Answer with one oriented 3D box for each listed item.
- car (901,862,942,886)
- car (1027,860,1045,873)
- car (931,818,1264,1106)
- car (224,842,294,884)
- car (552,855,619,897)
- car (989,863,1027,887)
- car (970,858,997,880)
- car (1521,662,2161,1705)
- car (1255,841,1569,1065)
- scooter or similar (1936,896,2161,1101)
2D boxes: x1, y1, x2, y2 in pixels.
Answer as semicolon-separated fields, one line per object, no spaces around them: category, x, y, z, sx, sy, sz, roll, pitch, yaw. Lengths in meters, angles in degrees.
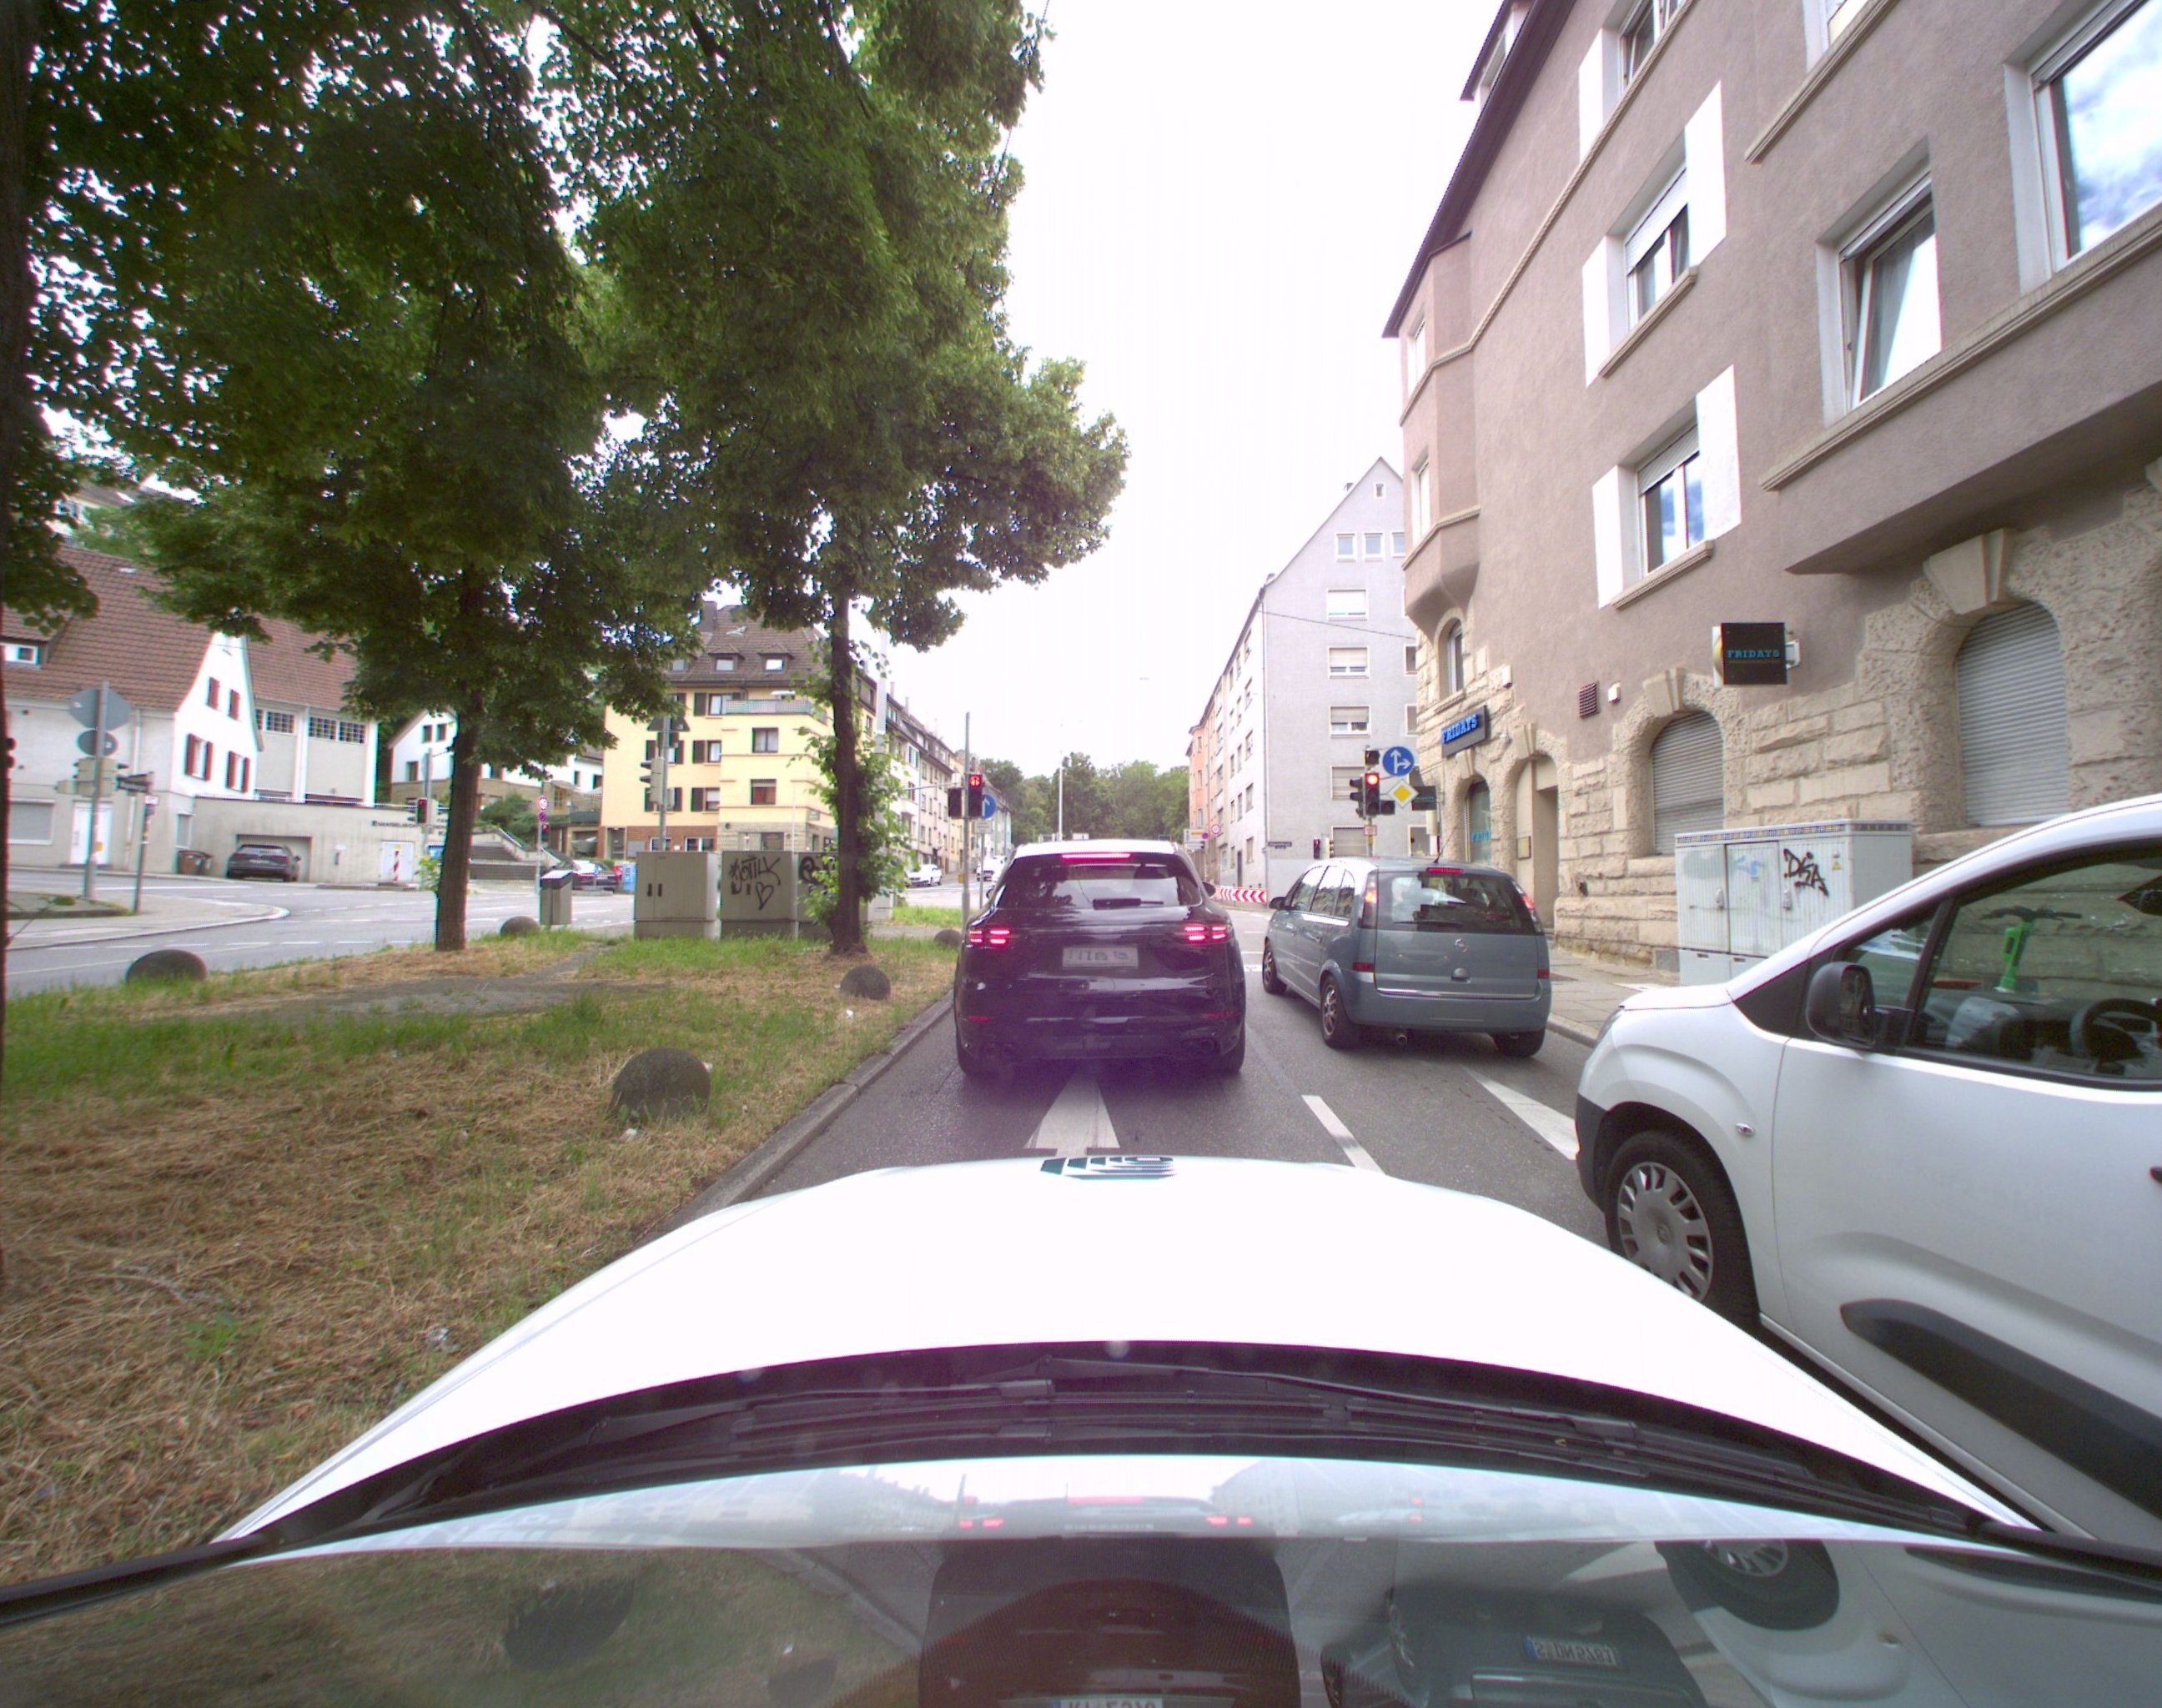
car;-10.591;1.304;54.405;1.837;1.486;3.900;0;-1;2
car;-5.417;1.548;97.689;1.611;1.480;3.828;-1;-2;5
car;0.159;0.656;6.831;1.948;1.674;4.001;-1;-1;2
car;-32.158;0.354;31.843;3.019;1.405;1.681;2;-4;42
car;-23.633;1.005;38.828;3.477;1.596;1.881;7;4;44
car;-4.575;1.290;51.326;1.854;1.388;4.096;0;0;2
car;-7.655;1.173;64.322;1.970;1.610;4.550;0;0;-5
car;2.846;0.595;1.081;1.969;1.775;4.676;3;0;0
car;2.866;0.752;7.924;1.622;1.598;3.670;3;0;2
scooter or similar;6.485;0.860;5.238;0.524;1.104;1.424;-1;-1;4
